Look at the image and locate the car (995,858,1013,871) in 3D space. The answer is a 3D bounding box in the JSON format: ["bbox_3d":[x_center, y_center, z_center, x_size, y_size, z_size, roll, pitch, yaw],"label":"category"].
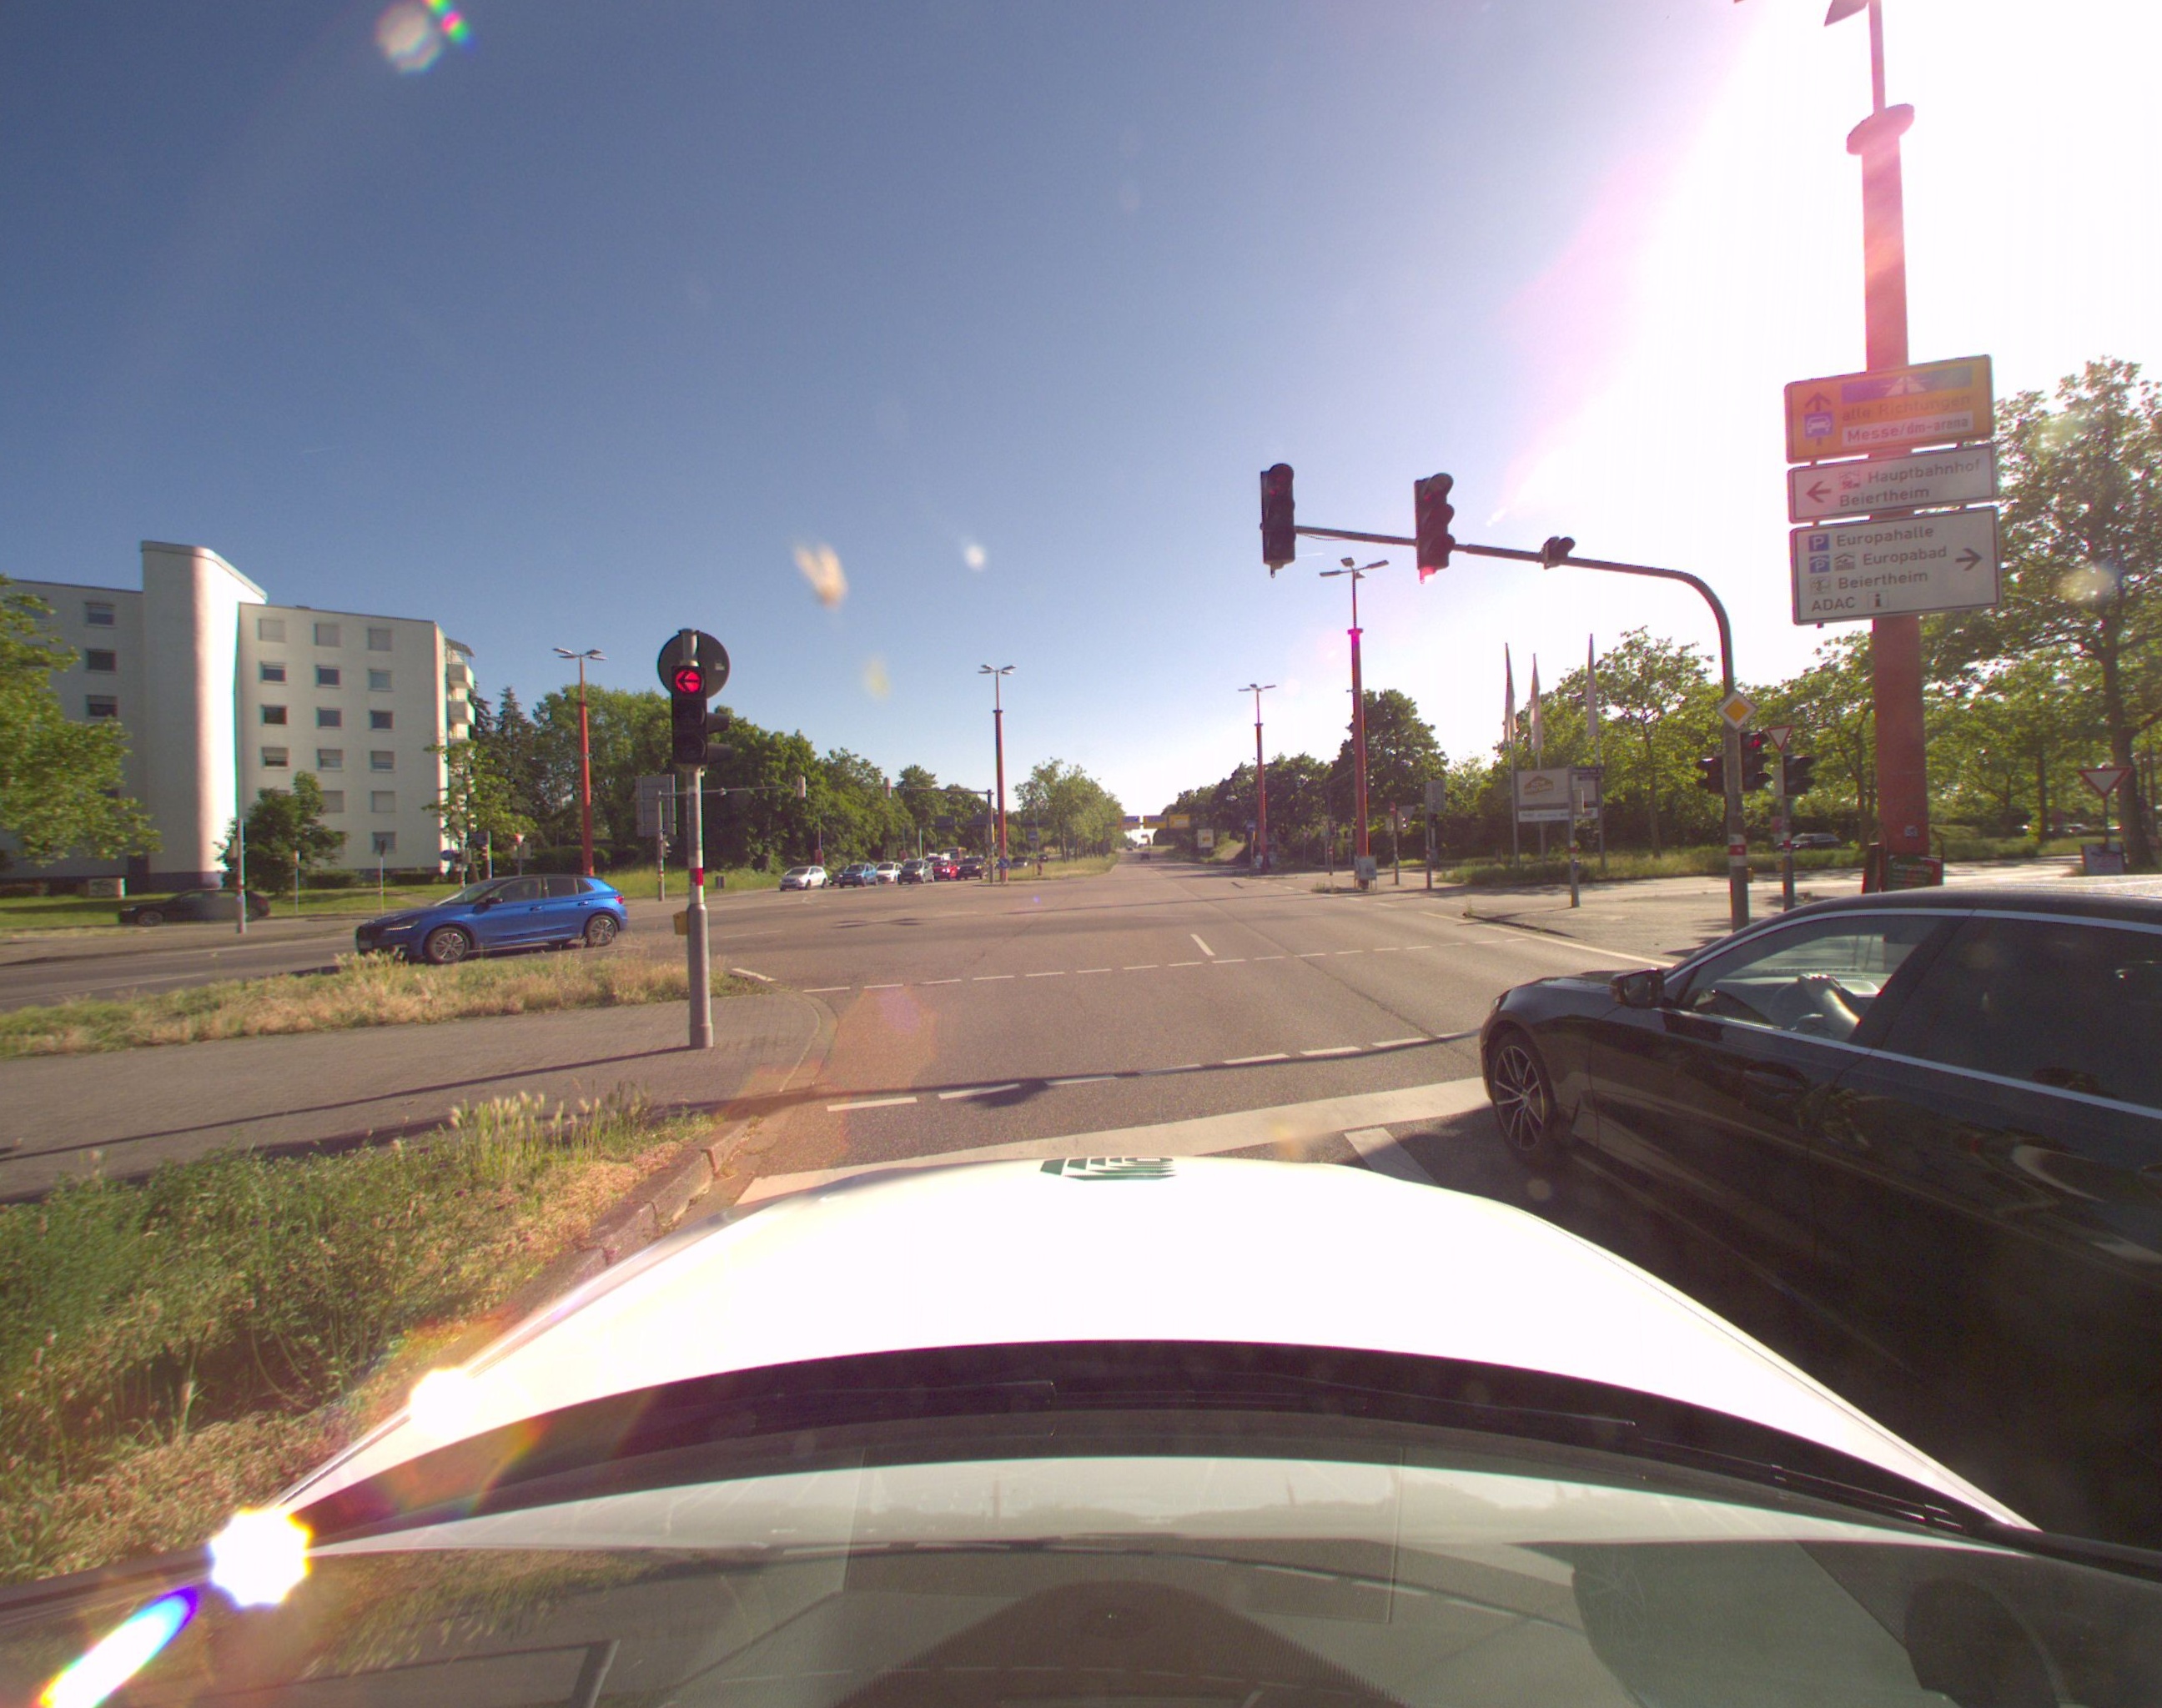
[{"bbox_3d":[-10.439,1.393,110.812,1.878,1.543,4.002,-3,0,2],"label":"car"}]

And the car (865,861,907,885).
[{"bbox_3d":[-13.765,1.292,57.763,1.895,1.555,4.000,-3,0,0],"label":"car"}]

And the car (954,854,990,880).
[{"bbox_3d":[-7.519,0.862,56.703,1.787,1.626,4.144,-3,0,1],"label":"car"}]

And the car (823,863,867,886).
[{"bbox_3d":[-17.549,1.508,60.680,1.877,1.513,4.003,-3,0,3],"label":"car"}]

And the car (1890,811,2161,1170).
[{"bbox_3d":[5.664,0.601,2.958,1.709,1.608,3.849,0,-1,2],"label":"car"}]

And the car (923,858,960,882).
[{"bbox_3d":[-10.058,1.129,59.024,1.869,1.552,4.000,-5,0,0],"label":"car"}]

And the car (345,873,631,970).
[{"bbox_3d":[-10.715,1.130,15.021,1.559,1.420,3.934,-2,0,30],"label":"car"}]

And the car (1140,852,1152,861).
[{"bbox_3d":[12.543,0.447,157.281,1.986,1.733,4.001,0,-1,2],"label":"car"}]

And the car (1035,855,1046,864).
[{"bbox_3d":[-7.987,1.104,162.312,1.830,1.837,3.962,-2,0,2],"label":"car"}]

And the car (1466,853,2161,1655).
[{"bbox_3d":[2.874,0.720,2.318,1.756,1.441,4.299,0,0,4],"label":"car"}]

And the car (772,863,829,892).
[{"bbox_3d":[-17.636,1.429,51.417,1.869,1.652,4.222,-3,-1,3],"label":"car"}]

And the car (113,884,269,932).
[{"bbox_3d":[-34.451,2.055,31.610,1.815,1.503,3.975,-3,-1,39],"label":"car"}]

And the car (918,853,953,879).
[{"bbox_3d":[-12.714,1.005,71.302,1.954,2.155,5.083,-2,0,1],"label":"car"}]

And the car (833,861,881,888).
[{"bbox_3d":[-14.129,1.291,51.616,1.794,1.515,3.861,-3,0,2],"label":"car"}]

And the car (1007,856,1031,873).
[{"bbox_3d":[-6.144,1.000,81.162,1.878,1.543,4.002,-3,0,2],"label":"car"}]

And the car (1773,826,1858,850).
[{"bbox_3d":[52.572,-1.100,58.376,4.260,1.635,1.774,0,-1,8],"label":"car"}]

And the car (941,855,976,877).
[{"bbox_3d":[-9.738,0.938,65.021,1.893,1.630,4.003,-1,0,3],"label":"car"}]

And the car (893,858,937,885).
[{"bbox_3d":[-10.687,1.083,52.697,1.867,1.550,4.029,-3,0,2],"label":"car"}]
